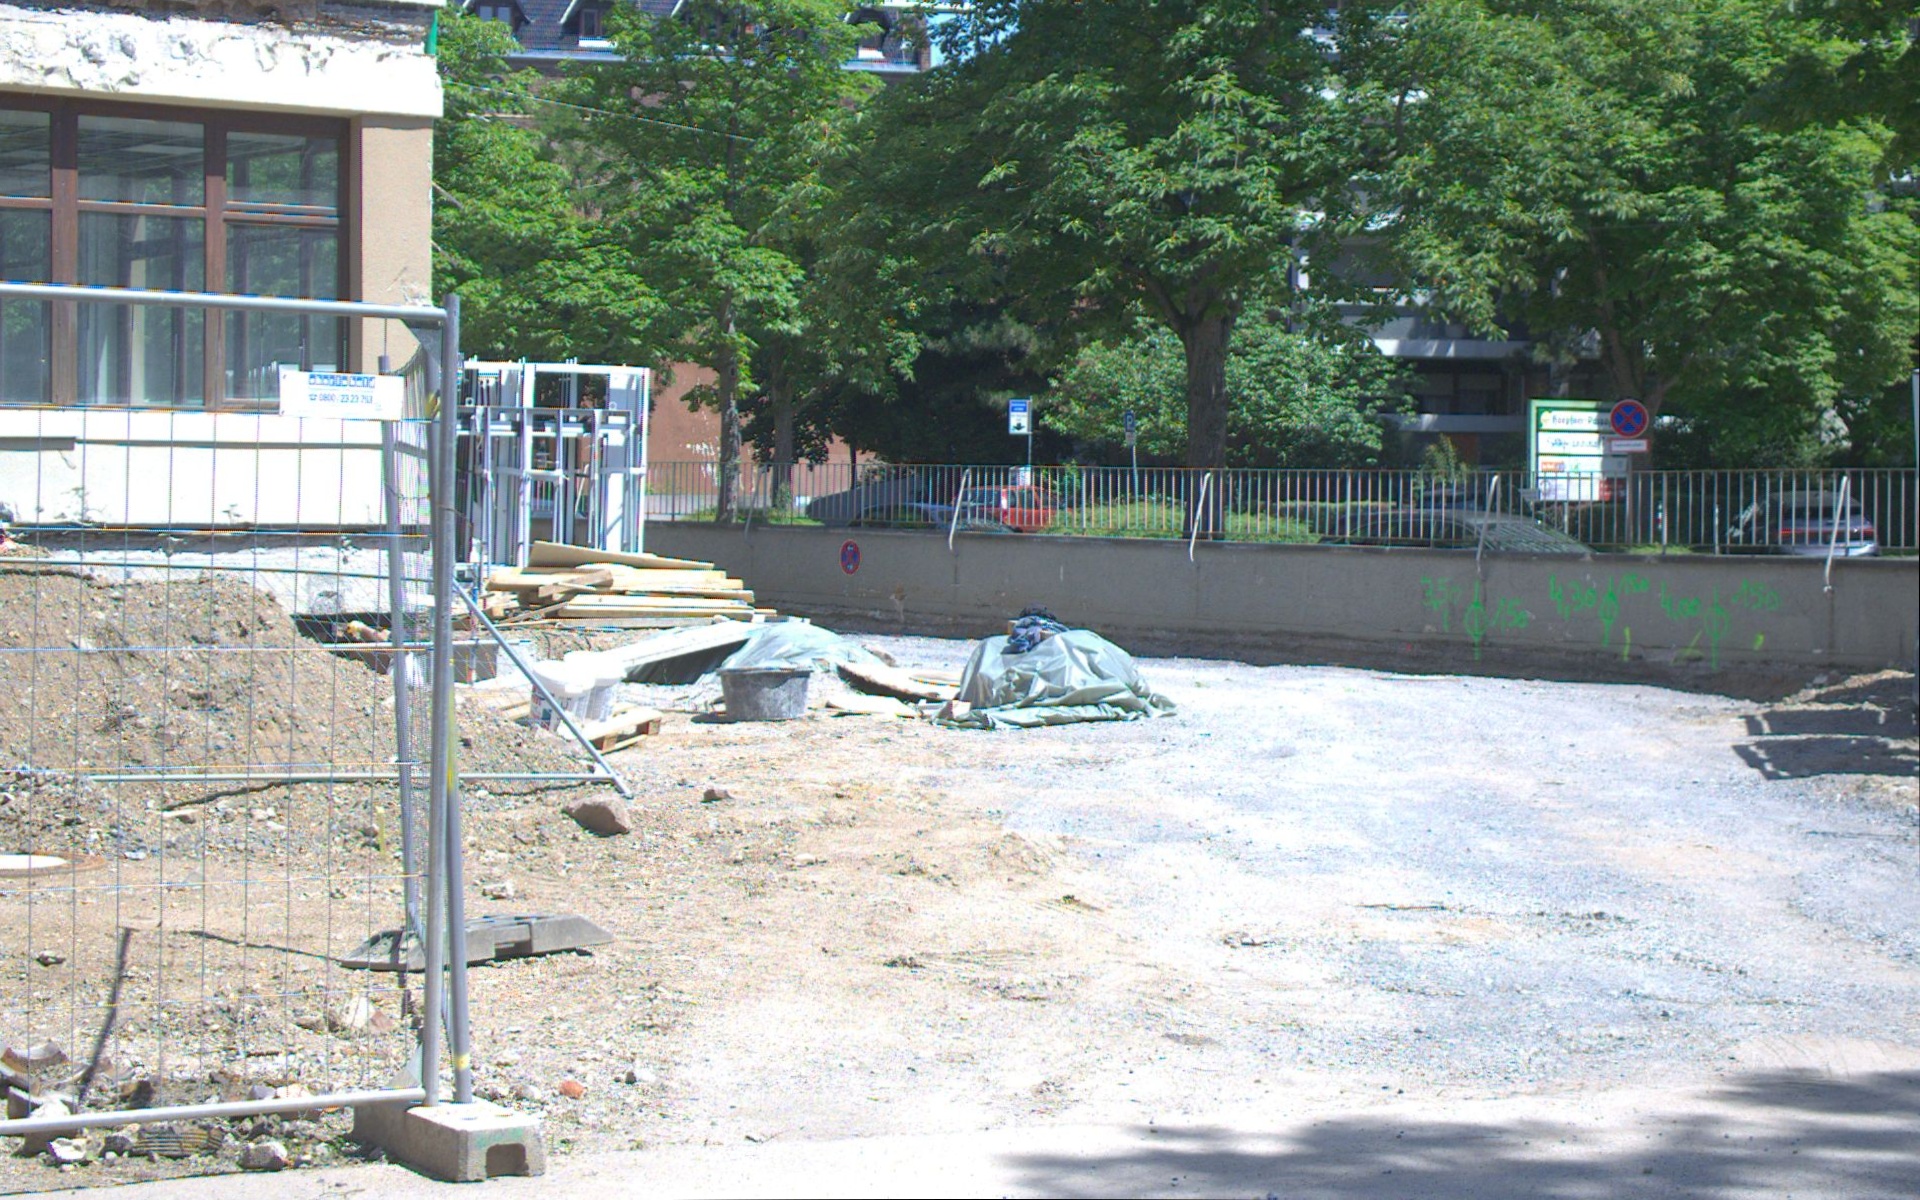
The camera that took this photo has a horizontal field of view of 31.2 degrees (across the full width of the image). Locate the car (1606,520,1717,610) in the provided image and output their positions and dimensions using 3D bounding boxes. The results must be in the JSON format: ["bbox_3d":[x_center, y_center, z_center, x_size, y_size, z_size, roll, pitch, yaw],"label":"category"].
[{"bbox_3d":[11.189,-0.586,55.002,1.634,1.382,3.676,1,1,10],"label":"car"}]

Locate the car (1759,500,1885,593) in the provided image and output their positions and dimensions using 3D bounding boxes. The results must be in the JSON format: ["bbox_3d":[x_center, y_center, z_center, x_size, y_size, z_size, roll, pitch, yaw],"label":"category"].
[{"bbox_3d":[13.414,-0.848,53.629,1.634,1.382,3.676,1,1,10],"label":"car"}]
